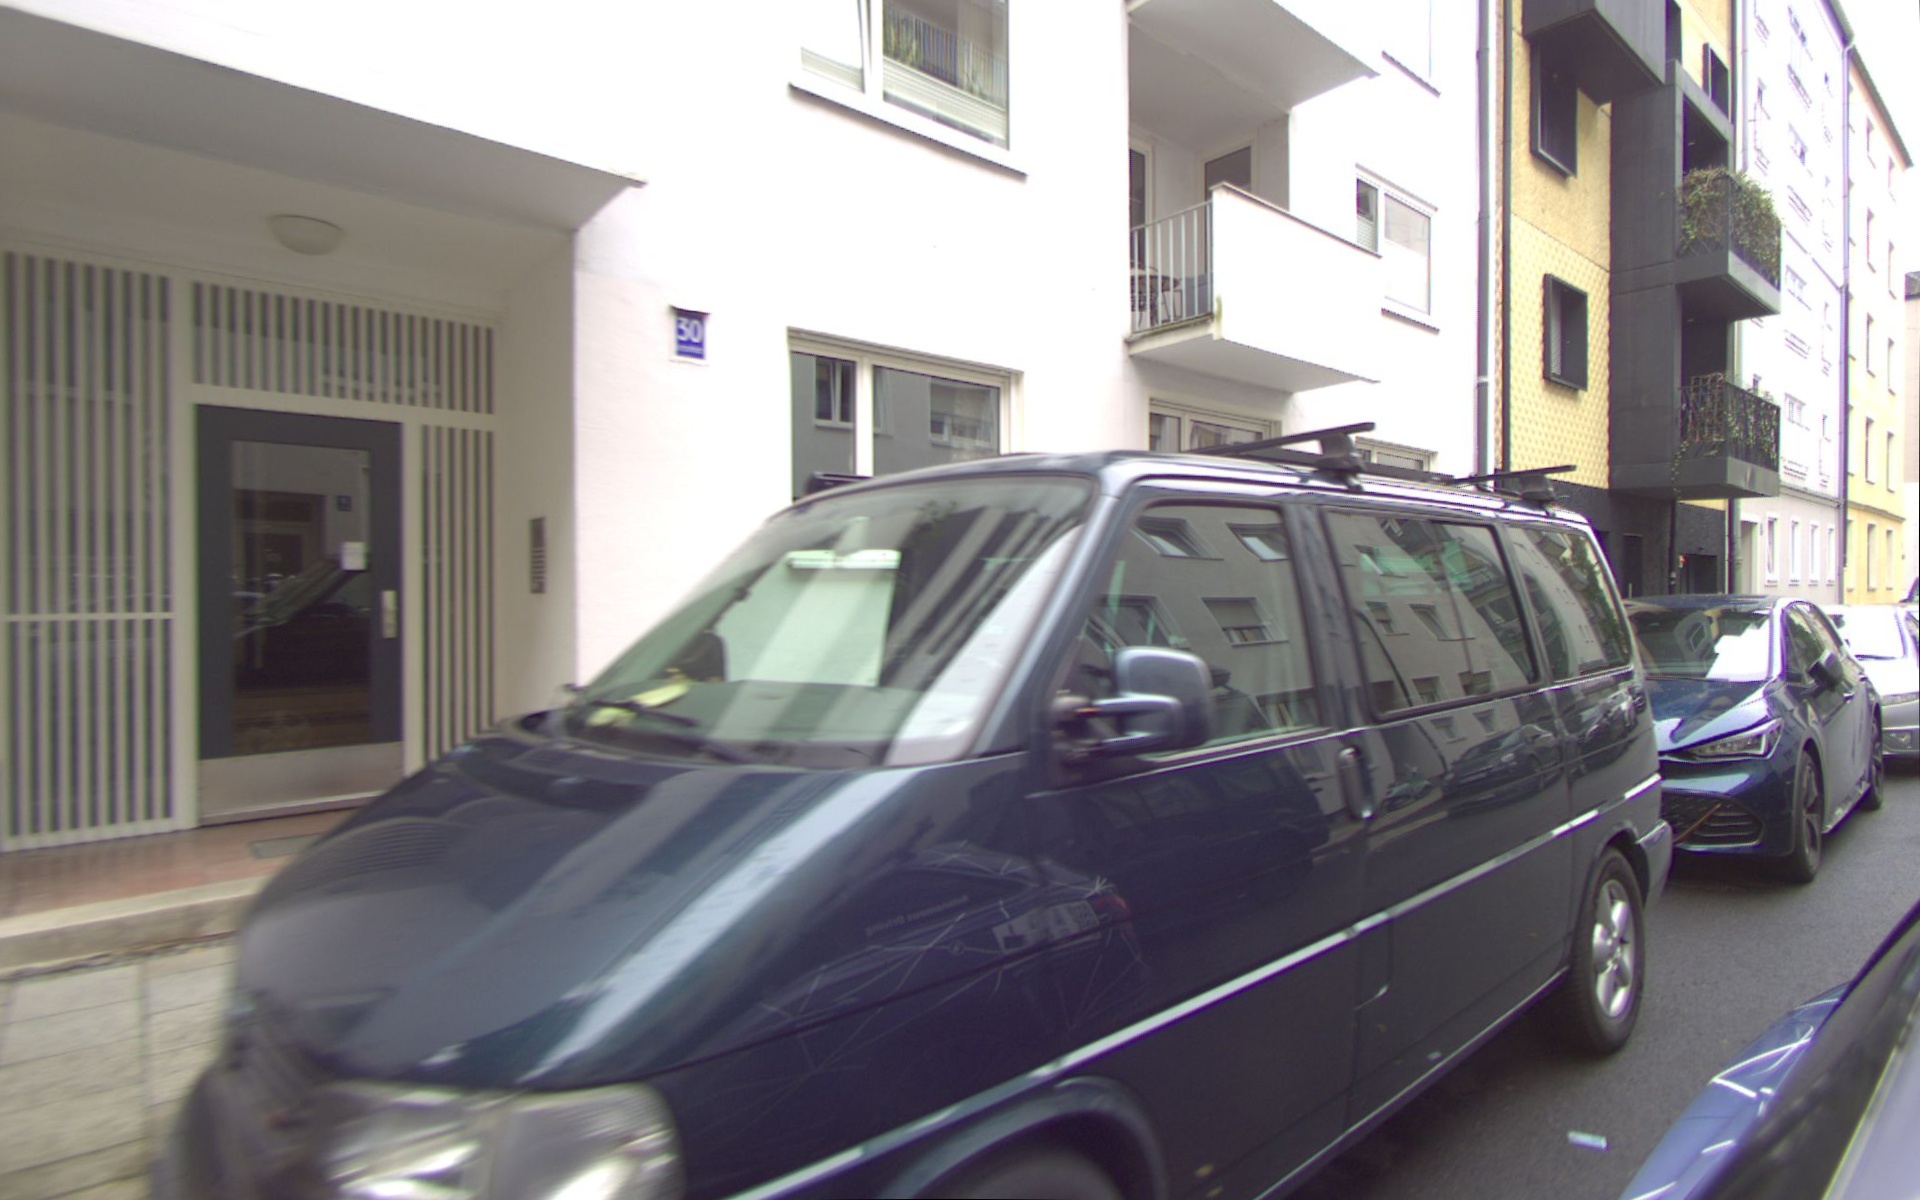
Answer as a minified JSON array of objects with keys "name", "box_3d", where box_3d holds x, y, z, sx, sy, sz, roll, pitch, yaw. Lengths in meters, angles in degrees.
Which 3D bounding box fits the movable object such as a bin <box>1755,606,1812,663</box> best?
[{"name":"movable object such as a bin","box_3d":[16.033,0.659,19.703,0.536,1.067,0.796,-1,1,-41]}]

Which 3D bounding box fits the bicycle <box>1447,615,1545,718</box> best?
[{"name":"bicycle","box_3d":[6.070,0.716,11.435,1.495,1.061,0.478,0,0,-41]}]

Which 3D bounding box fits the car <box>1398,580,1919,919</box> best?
[{"name":"car","box_3d":[5.012,0.657,6.960,4.544,1.573,1.909,-1,1,-41]}]

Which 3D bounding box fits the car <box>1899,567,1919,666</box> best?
[{"name":"car","box_3d":[20.457,0.256,20.146,5.094,1.862,1.985,-1,-1,-41]}]

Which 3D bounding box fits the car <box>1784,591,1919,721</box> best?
[{"name":"car","box_3d":[12.380,0.629,13.338,4.131,1.447,1.737,-1,1,-42]}]

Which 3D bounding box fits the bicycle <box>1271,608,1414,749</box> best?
[{"name":"bicycle","box_3d":[3.522,0.670,9.258,1.536,1.165,0.571,0,0,-41]}]

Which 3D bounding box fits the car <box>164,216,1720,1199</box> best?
[{"name":"car","box_3d":[0.578,0.530,3.120,4.699,1.813,1.878,-1,1,-41]}]

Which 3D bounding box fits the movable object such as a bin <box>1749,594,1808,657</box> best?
[{"name":"movable object such as a bin","box_3d":[15.620,0.471,19.323,0.564,1.154,0.796,-1,1,-41]}]

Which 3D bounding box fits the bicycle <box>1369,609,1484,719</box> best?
[{"name":"bicycle","box_3d":[4.764,0.613,10.292,1.525,1.015,0.478,-1,0,-41]}]

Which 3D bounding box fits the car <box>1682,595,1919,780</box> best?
[{"name":"car","box_3d":[8.866,0.724,10.137,4.189,1.449,1.761,-1,-2,-42]}]
